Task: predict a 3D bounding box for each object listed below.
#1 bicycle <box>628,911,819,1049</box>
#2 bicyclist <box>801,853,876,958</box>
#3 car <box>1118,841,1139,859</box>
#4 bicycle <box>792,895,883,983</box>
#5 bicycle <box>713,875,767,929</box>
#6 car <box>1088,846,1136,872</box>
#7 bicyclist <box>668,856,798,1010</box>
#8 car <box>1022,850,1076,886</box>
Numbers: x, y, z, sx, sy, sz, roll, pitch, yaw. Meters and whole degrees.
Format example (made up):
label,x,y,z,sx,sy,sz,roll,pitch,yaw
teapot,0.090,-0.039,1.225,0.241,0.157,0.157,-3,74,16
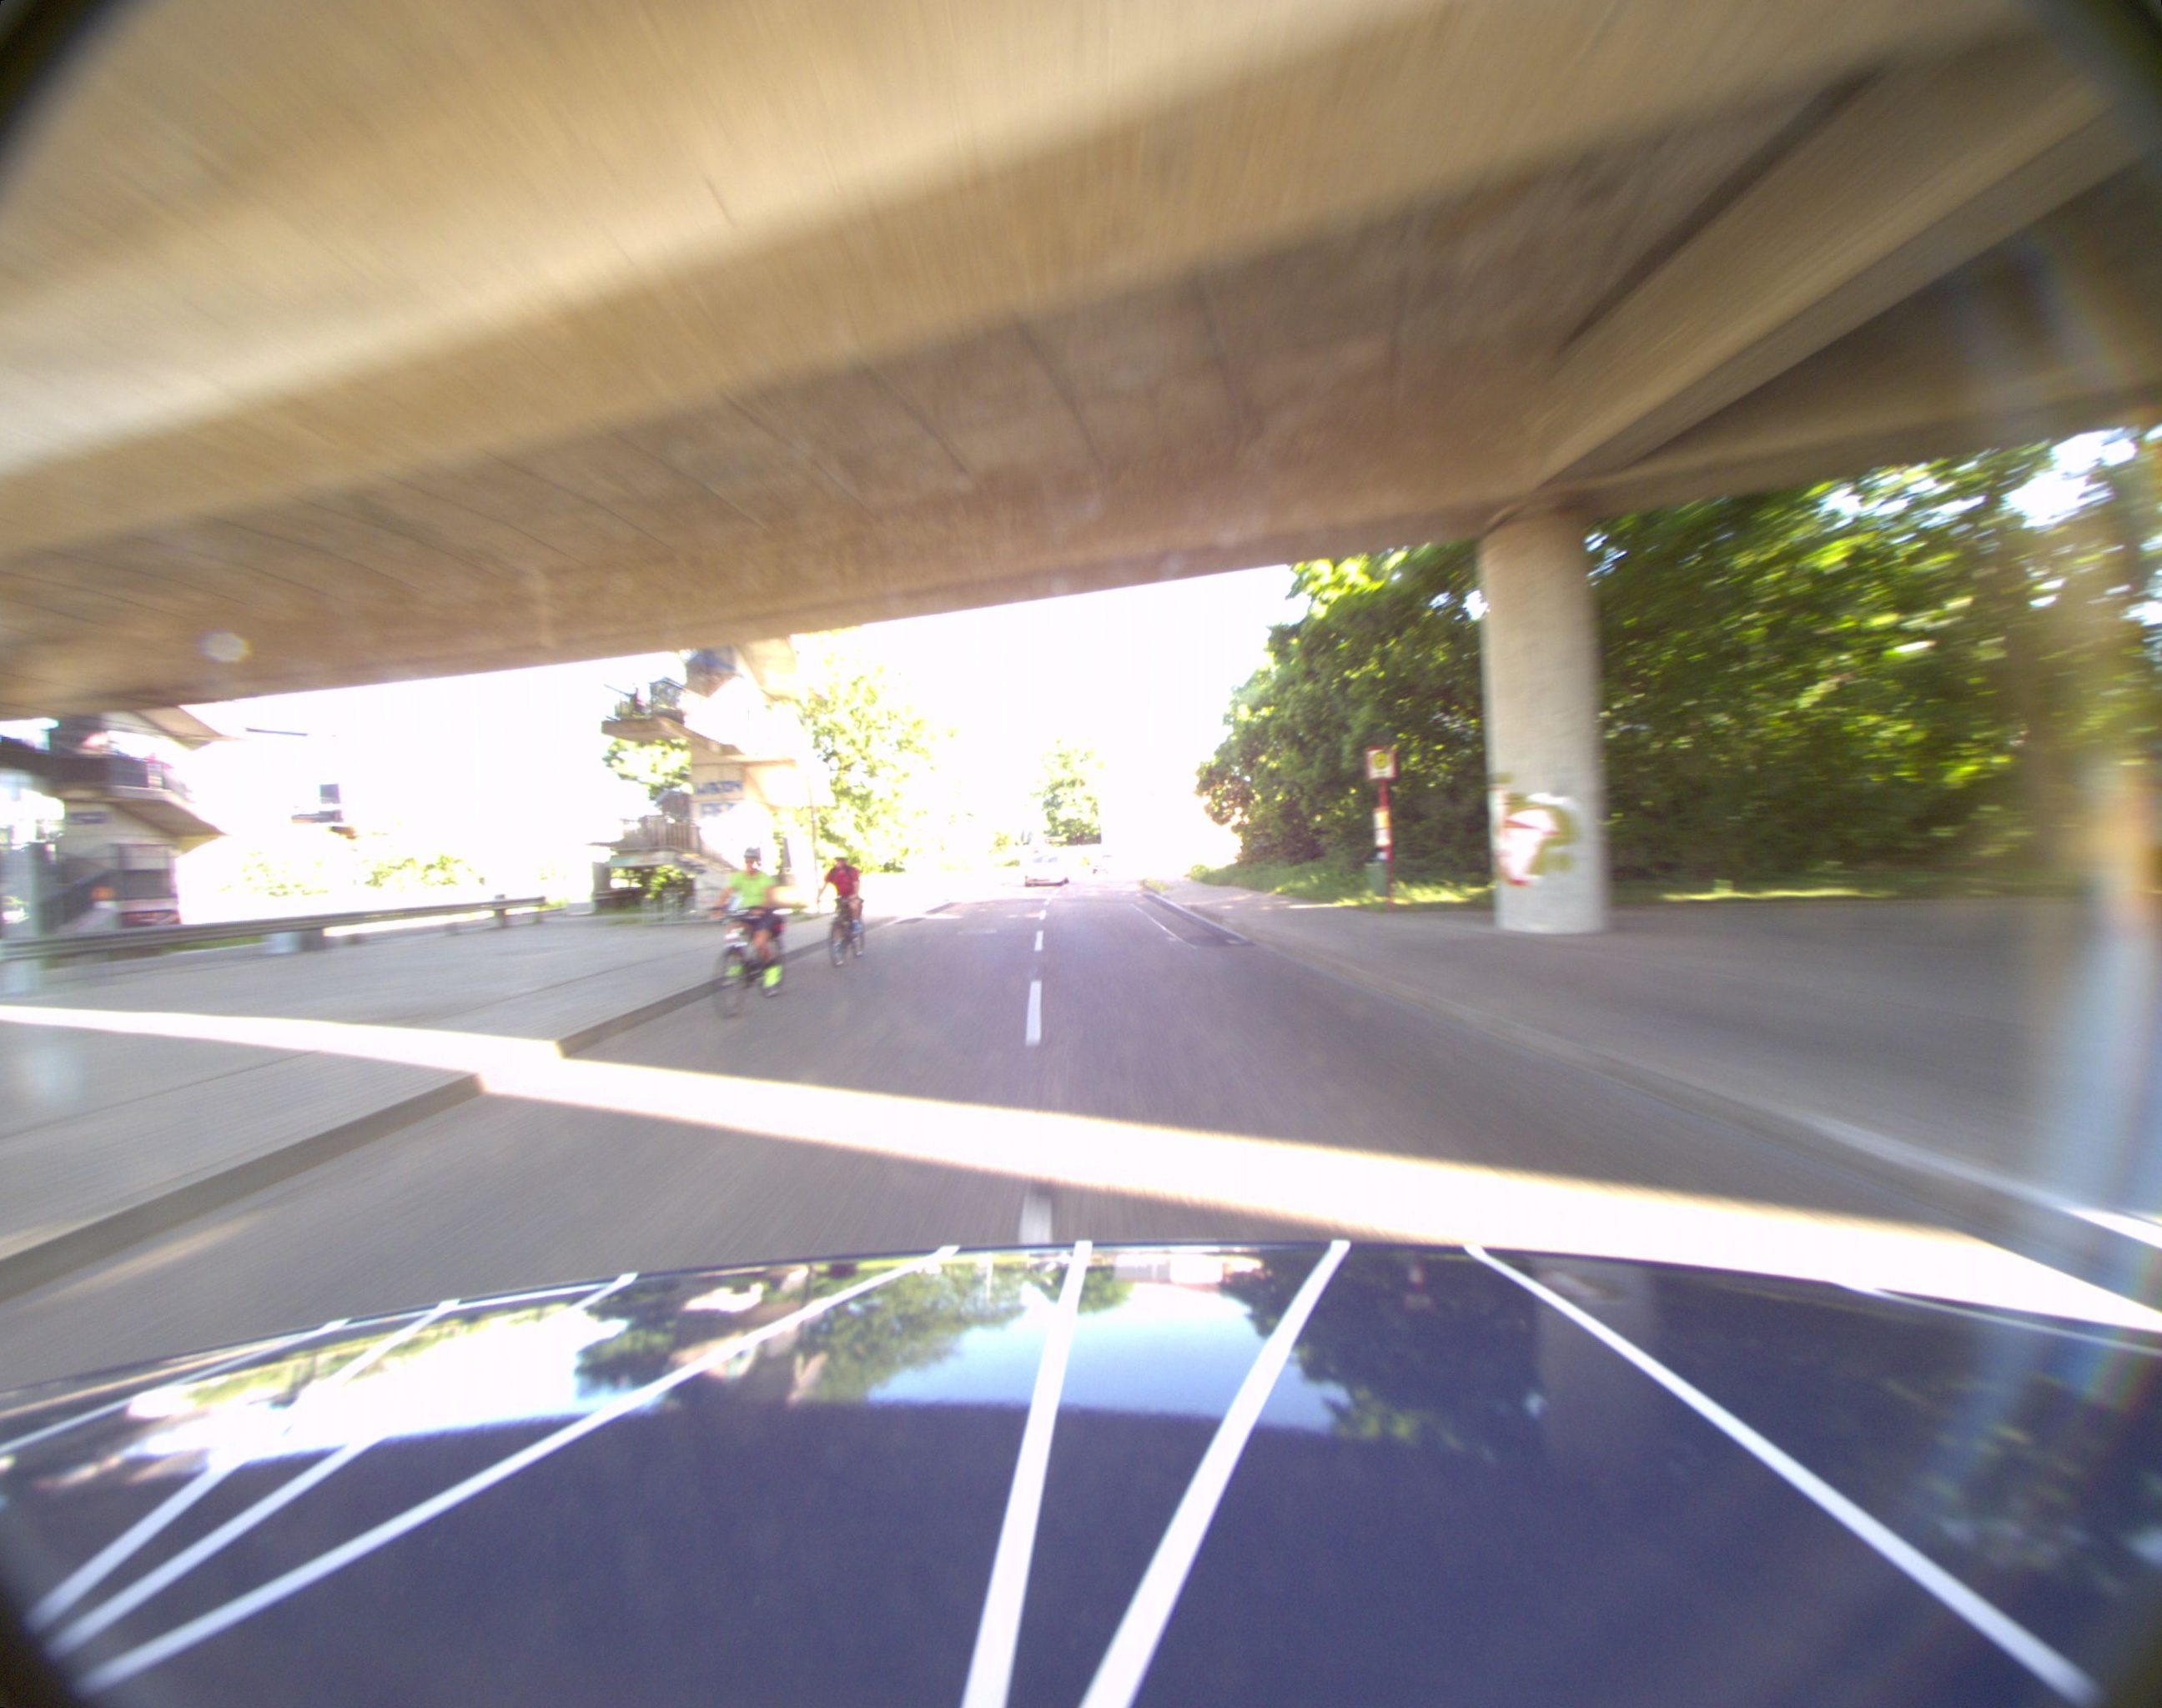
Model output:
label,x,y,z,sx,sy,sz,roll,pitch,yaw
bicycle,-3.603,1.219,7.954,0.843,1.045,2.190,-3,0,2
bicyclist,-3.650,0.749,11.508,0.843,1.480,0.923,-3,1,-6
car,5.245,-0.445,84.256,1.998,1.767,4.365,-3,0,2
bicycle,-3.625,1.221,11.523,0.843,1.045,2.188,-3,0,-6
bicycle,-8.302,1.135,18.586,0.599,1.175,2.179,-2,0,-9
car,2.270,0.337,54.811,1.847,1.621,4.302,-3,1,25
bicyclist,-3.609,0.786,7.966,0.842,1.480,0.924,-3,1,2
car,-1.494,0.653,37.393,1.849,1.621,4.298,-2,0,8
